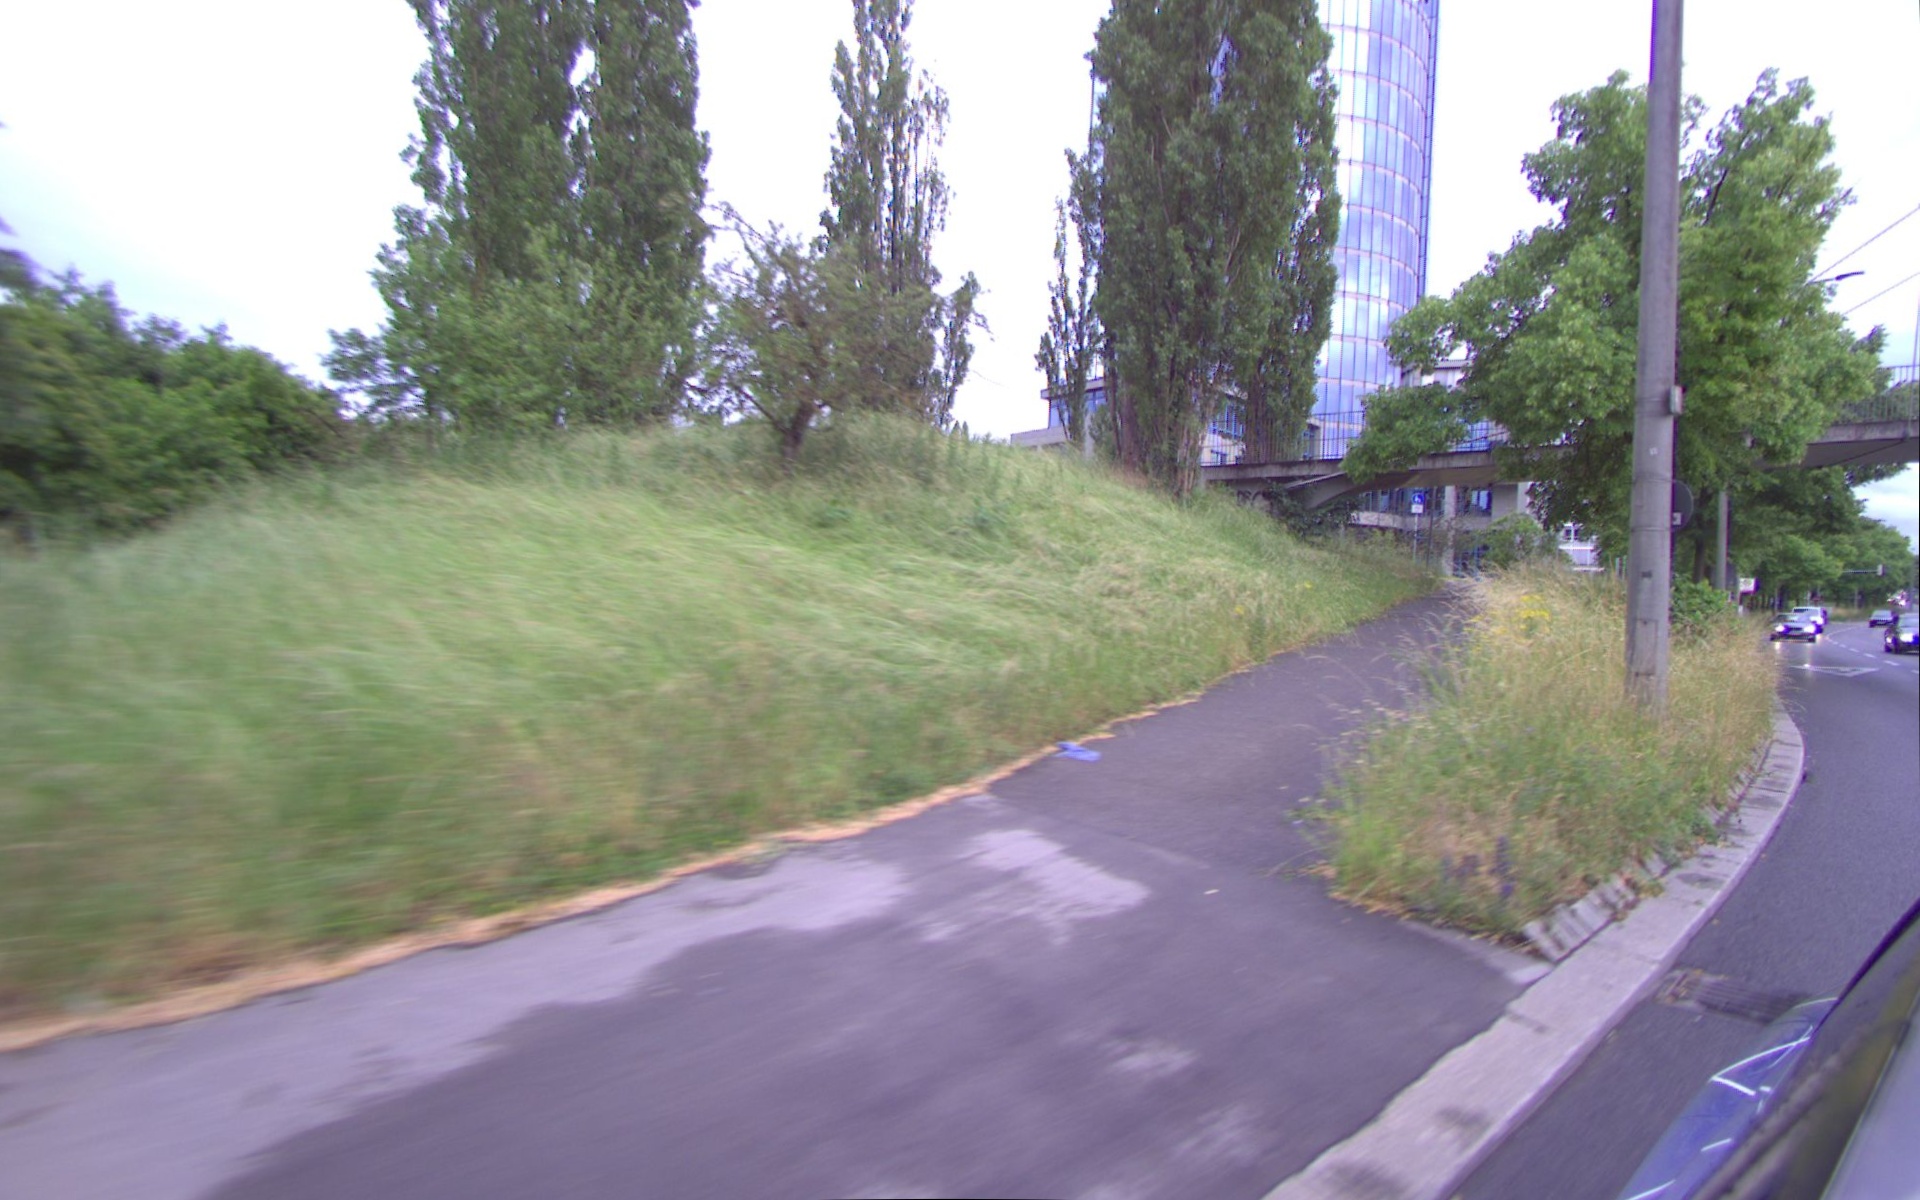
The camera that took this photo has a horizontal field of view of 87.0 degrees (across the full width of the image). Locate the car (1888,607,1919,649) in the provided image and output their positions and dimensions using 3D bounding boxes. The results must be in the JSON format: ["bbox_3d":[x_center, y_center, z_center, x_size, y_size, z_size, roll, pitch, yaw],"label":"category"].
[{"bbox_3d":[34.800,1.010,36.338,1.727,1.369,3.947,2,2,37],"label":"car"}]

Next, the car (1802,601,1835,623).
[{"bbox_3d":[62.695,0.836,73.924,1.761,1.520,3.942,2,1,40],"label":"car"}]

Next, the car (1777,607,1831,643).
[{"bbox_3d":[40.924,1.183,49.137,1.760,1.520,3.946,2,2,37],"label":"car"}]
